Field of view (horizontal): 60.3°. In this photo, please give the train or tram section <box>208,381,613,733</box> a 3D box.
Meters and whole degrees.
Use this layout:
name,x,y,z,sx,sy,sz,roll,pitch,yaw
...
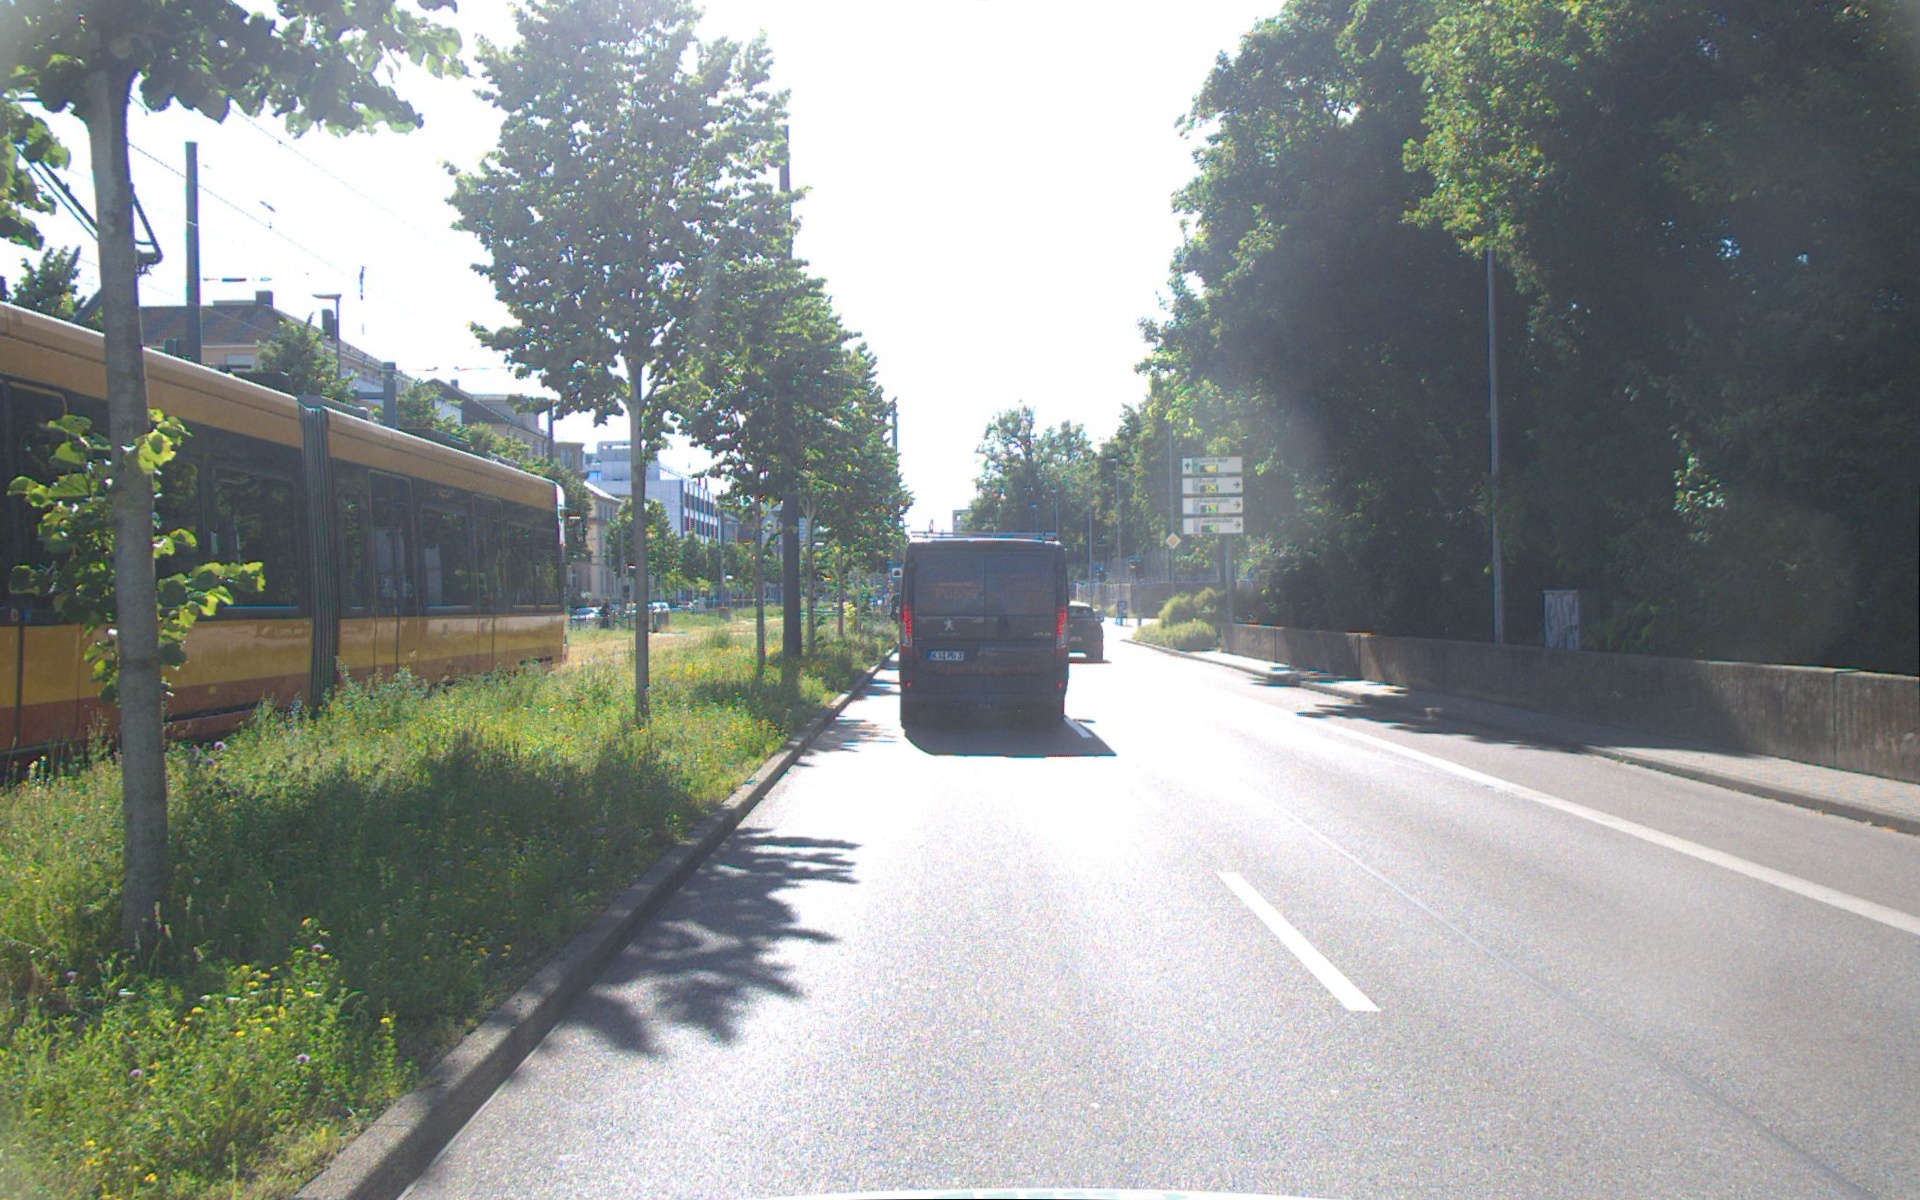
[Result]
name,x,y,z,sx,sy,sz,roll,pitch,yaw
train or tram section,-7.067,-0.467,23.415,1.953,3.733,11.681,0,0,-1

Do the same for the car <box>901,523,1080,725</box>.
name,x,y,z,sx,sy,sz,roll,pitch,yaw
car,0.303,0.271,20.822,2.040,2.288,3.999,0,0,-1

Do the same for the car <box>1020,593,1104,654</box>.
name,x,y,z,sx,sy,sz,roll,pitch,yaw
car,2.569,0.584,42.434,1.728,1.488,3.998,0,0,-3

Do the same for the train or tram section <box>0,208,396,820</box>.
name,x,y,z,sx,sy,sz,roll,pitch,yaw
train or tram section,-6.875,-0.527,11.953,1.953,3.733,11.313,0,0,-1
